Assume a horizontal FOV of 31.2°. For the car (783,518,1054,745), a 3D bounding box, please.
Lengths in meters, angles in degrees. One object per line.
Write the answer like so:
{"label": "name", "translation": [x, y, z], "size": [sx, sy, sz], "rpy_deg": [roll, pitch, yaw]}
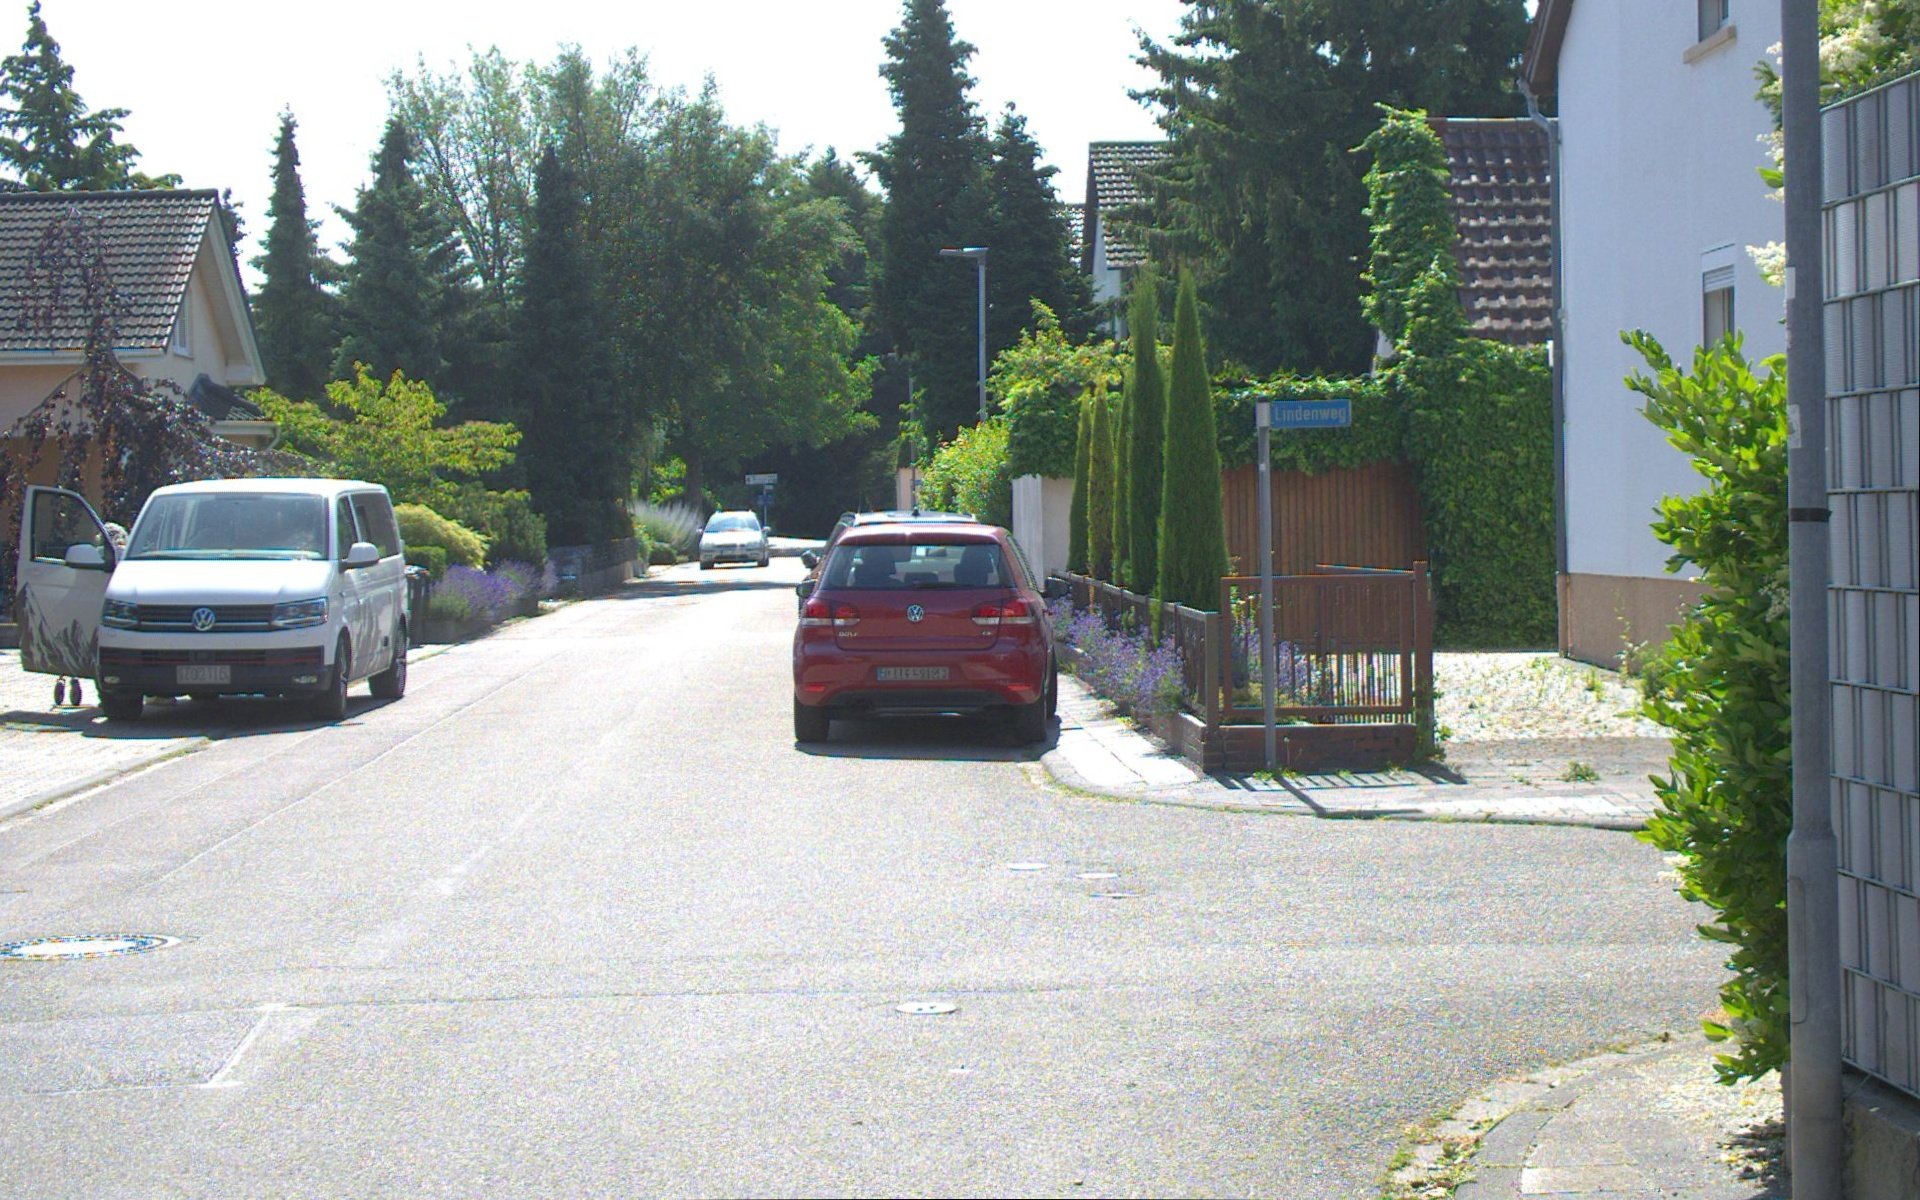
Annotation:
{"label": "car", "translation": [-0.223, 0.161, 24.690], "size": [1.775, 1.474, 4.000], "rpy_deg": [1, 1, 2]}

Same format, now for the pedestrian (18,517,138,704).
{"label": "pedestrian", "translation": [-7.411, 0.076, 28.894], "size": [0.718, 1.533, 0.641], "rpy_deg": [1, 2, 32]}

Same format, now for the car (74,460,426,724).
{"label": "car", "translation": [-5.845, -0.124, 28.918], "size": [1.929, 2.007, 4.896], "rpy_deg": [-1, 1, 0]}

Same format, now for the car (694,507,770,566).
{"label": "car", "translation": [-5.985, -1.690, 90.700], "size": [1.752, 1.482, 4.376], "rpy_deg": [-1, 1, -1]}

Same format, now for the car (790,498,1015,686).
{"label": "car", "translation": [-0.590, -0.122, 31.534], "size": [1.822, 1.610, 4.001], "rpy_deg": [0, 1, -4]}

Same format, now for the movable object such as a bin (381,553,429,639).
{"label": "movable object such as a bin", "translation": [-6.792, -0.051, 42.079], "size": [0.494, 1.021, 0.447], "rpy_deg": [-1, 2, -2]}
